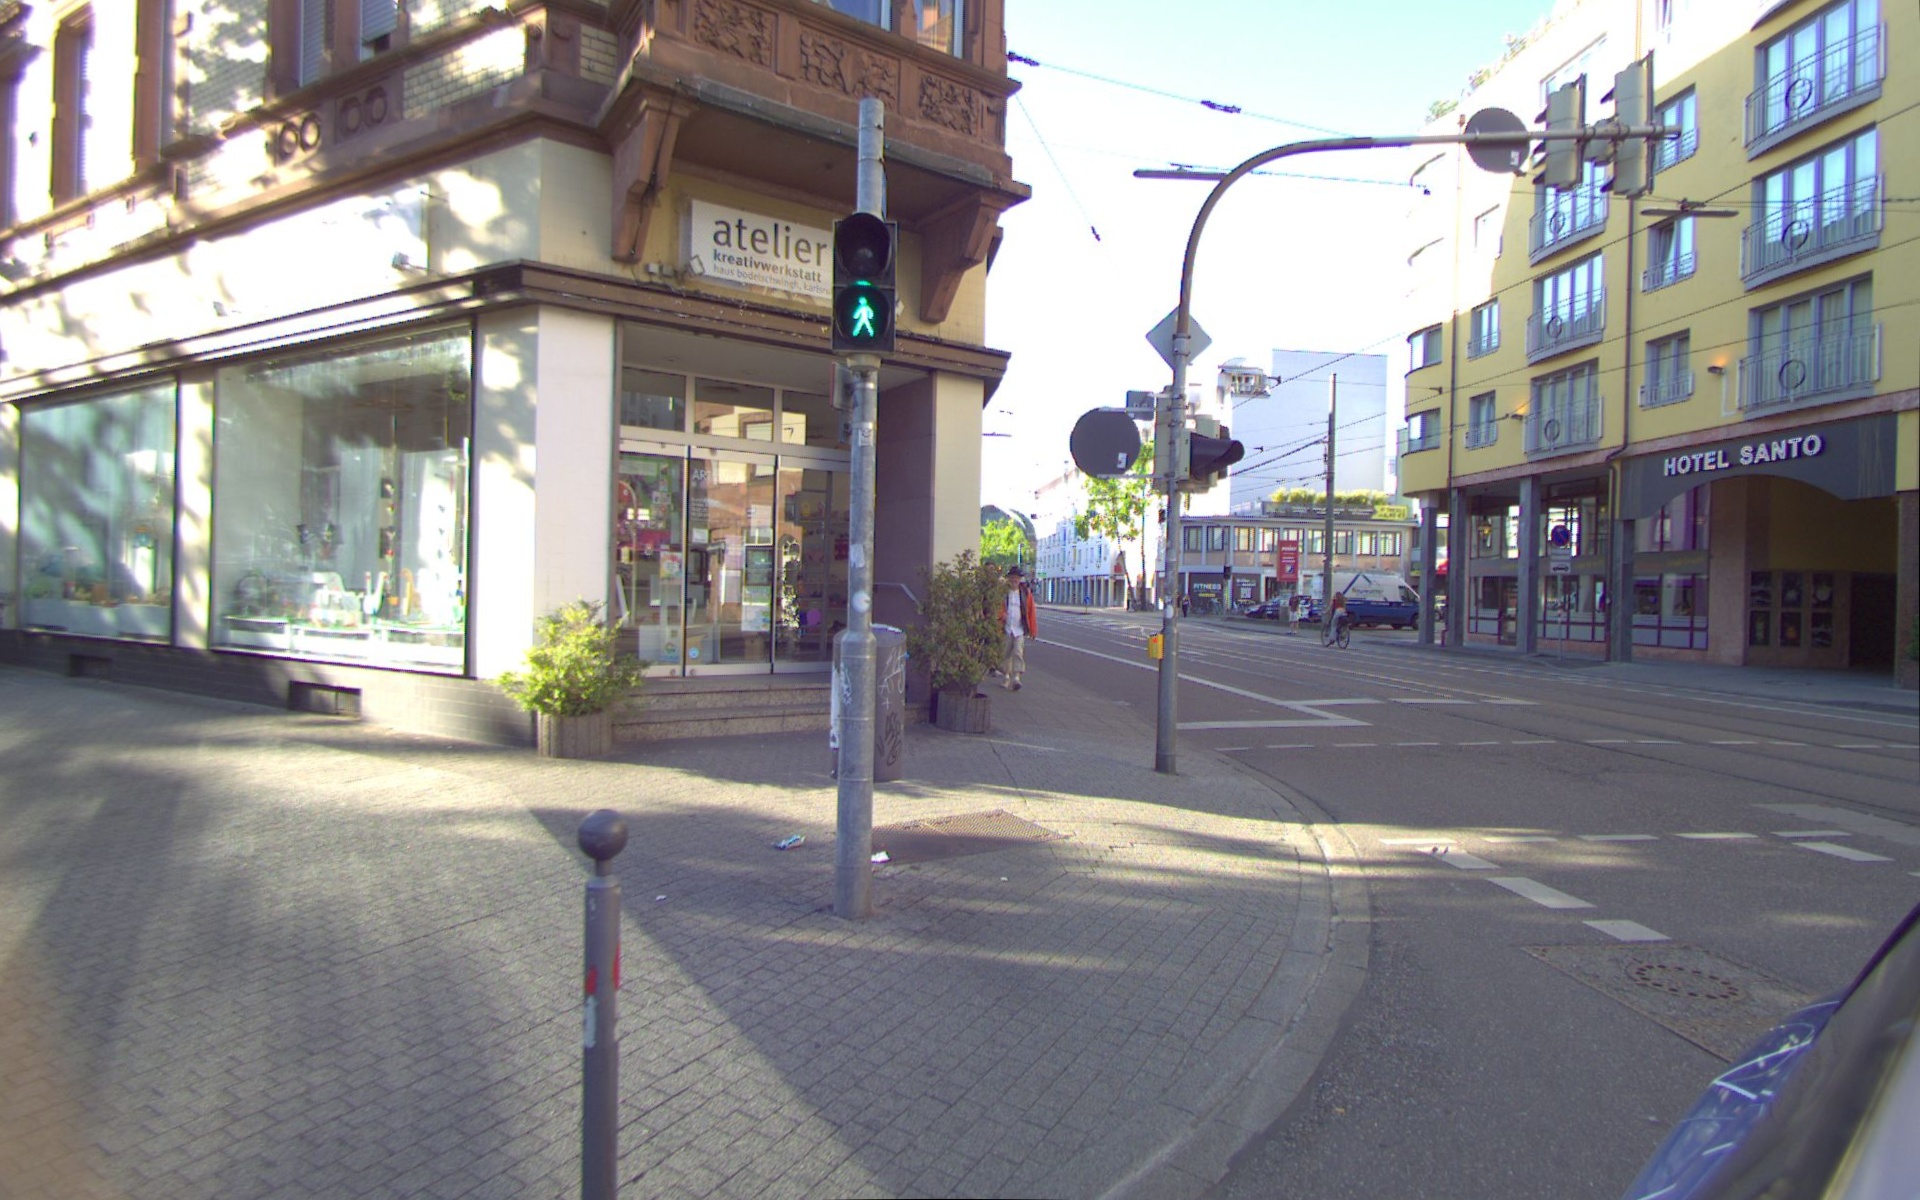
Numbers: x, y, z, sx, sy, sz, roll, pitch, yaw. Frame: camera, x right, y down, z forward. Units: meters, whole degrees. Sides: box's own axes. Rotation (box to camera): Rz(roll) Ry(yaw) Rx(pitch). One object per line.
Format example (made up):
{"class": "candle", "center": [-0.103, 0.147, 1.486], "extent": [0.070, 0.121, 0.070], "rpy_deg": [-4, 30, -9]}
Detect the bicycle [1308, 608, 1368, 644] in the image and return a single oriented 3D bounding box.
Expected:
{"class": "bicycle", "center": [11.510, 0.766, 30.915], "extent": [0.665, 1.016, 1.967], "rpy_deg": [1, 1, -16]}

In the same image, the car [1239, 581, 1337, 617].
{"class": "car", "center": [18.223, -0.057, 56.434], "extent": [4.725, 1.860, 2.061], "rpy_deg": [1, 0, -3]}

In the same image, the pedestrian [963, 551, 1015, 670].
{"class": "pedestrian", "center": [0.444, 0.149, 15.712], "extent": [0.737, 1.797, 0.602], "rpy_deg": [1, 0, 0]}

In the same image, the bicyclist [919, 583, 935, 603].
{"class": "bicyclist", "center": [-2.330, -0.511, 72.392], "extent": [1.053, 1.426, 0.839], "rpy_deg": [1, 0, -6]}

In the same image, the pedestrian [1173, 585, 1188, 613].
{"class": "pedestrian", "center": [13.763, -0.076, 63.072], "extent": [0.604, 1.751, 0.900], "rpy_deg": [1, 0, -8]}

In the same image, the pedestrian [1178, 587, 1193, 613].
{"class": "pedestrian", "center": [14.326, -0.018, 64.329], "extent": [0.604, 1.626, 0.900], "rpy_deg": [1, 0, -8]}

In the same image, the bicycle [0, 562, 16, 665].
{"class": "bicycle", "center": [-12.212, 0.135, 12.150], "extent": [2.574, 1.186, 0.665], "rpy_deg": [2, 3, 33]}

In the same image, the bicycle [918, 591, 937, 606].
{"class": "bicycle", "center": [-2.325, -0.108, 72.235], "extent": [1.053, 1.015, 3.066], "rpy_deg": [1, 1, -6]}

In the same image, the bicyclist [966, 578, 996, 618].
{"class": "bicyclist", "center": [0.830, -0.075, 40.438], "extent": [1.053, 1.557, 0.841], "rpy_deg": [1, 0, -6]}

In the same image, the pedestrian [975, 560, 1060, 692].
{"class": "pedestrian", "center": [0.757, 0.335, 13.731], "extent": [0.988, 1.701, 1.174], "rpy_deg": [1, 0, -3]}

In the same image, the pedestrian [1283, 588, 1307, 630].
{"class": "pedestrian", "center": [14.200, 0.373, 42.872], "extent": [0.711, 1.716, 0.691], "rpy_deg": [1, 0, -7]}

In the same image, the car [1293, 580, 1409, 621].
{"class": "car", "center": [18.709, 0.008, 48.566], "extent": [4.725, 1.860, 2.061], "rpy_deg": [1, 0, -3]}

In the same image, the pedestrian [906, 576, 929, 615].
{"class": "pedestrian", "center": [-2.076, -0.230, 49.473], "extent": [0.882, 1.861, 0.725], "rpy_deg": [1, 0, -30]}

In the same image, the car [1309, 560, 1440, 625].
{"class": "car", "center": [18.820, -0.362, 46.055], "extent": [5.047, 2.792, 2.061], "rpy_deg": [1, 0, -3]}

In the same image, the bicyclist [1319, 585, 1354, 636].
{"class": "bicyclist", "center": [11.512, 0.321, 30.927], "extent": [0.665, 1.539, 0.757], "rpy_deg": [1, 0, -15]}

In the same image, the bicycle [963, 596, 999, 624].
{"class": "bicycle", "center": [0.818, 0.388, 40.416], "extent": [1.053, 1.015, 3.066], "rpy_deg": [1, 1, -6]}

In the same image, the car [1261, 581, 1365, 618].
{"class": "car", "center": [18.620, -0.034, 53.562], "extent": [4.725, 1.860, 2.061], "rpy_deg": [1, 0, -3]}

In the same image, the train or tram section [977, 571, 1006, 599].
{"class": "train or tram section", "center": [3.756, -1.823, 121.993], "extent": [2.235, 3.178, 10.053], "rpy_deg": [1, 1, -5]}
